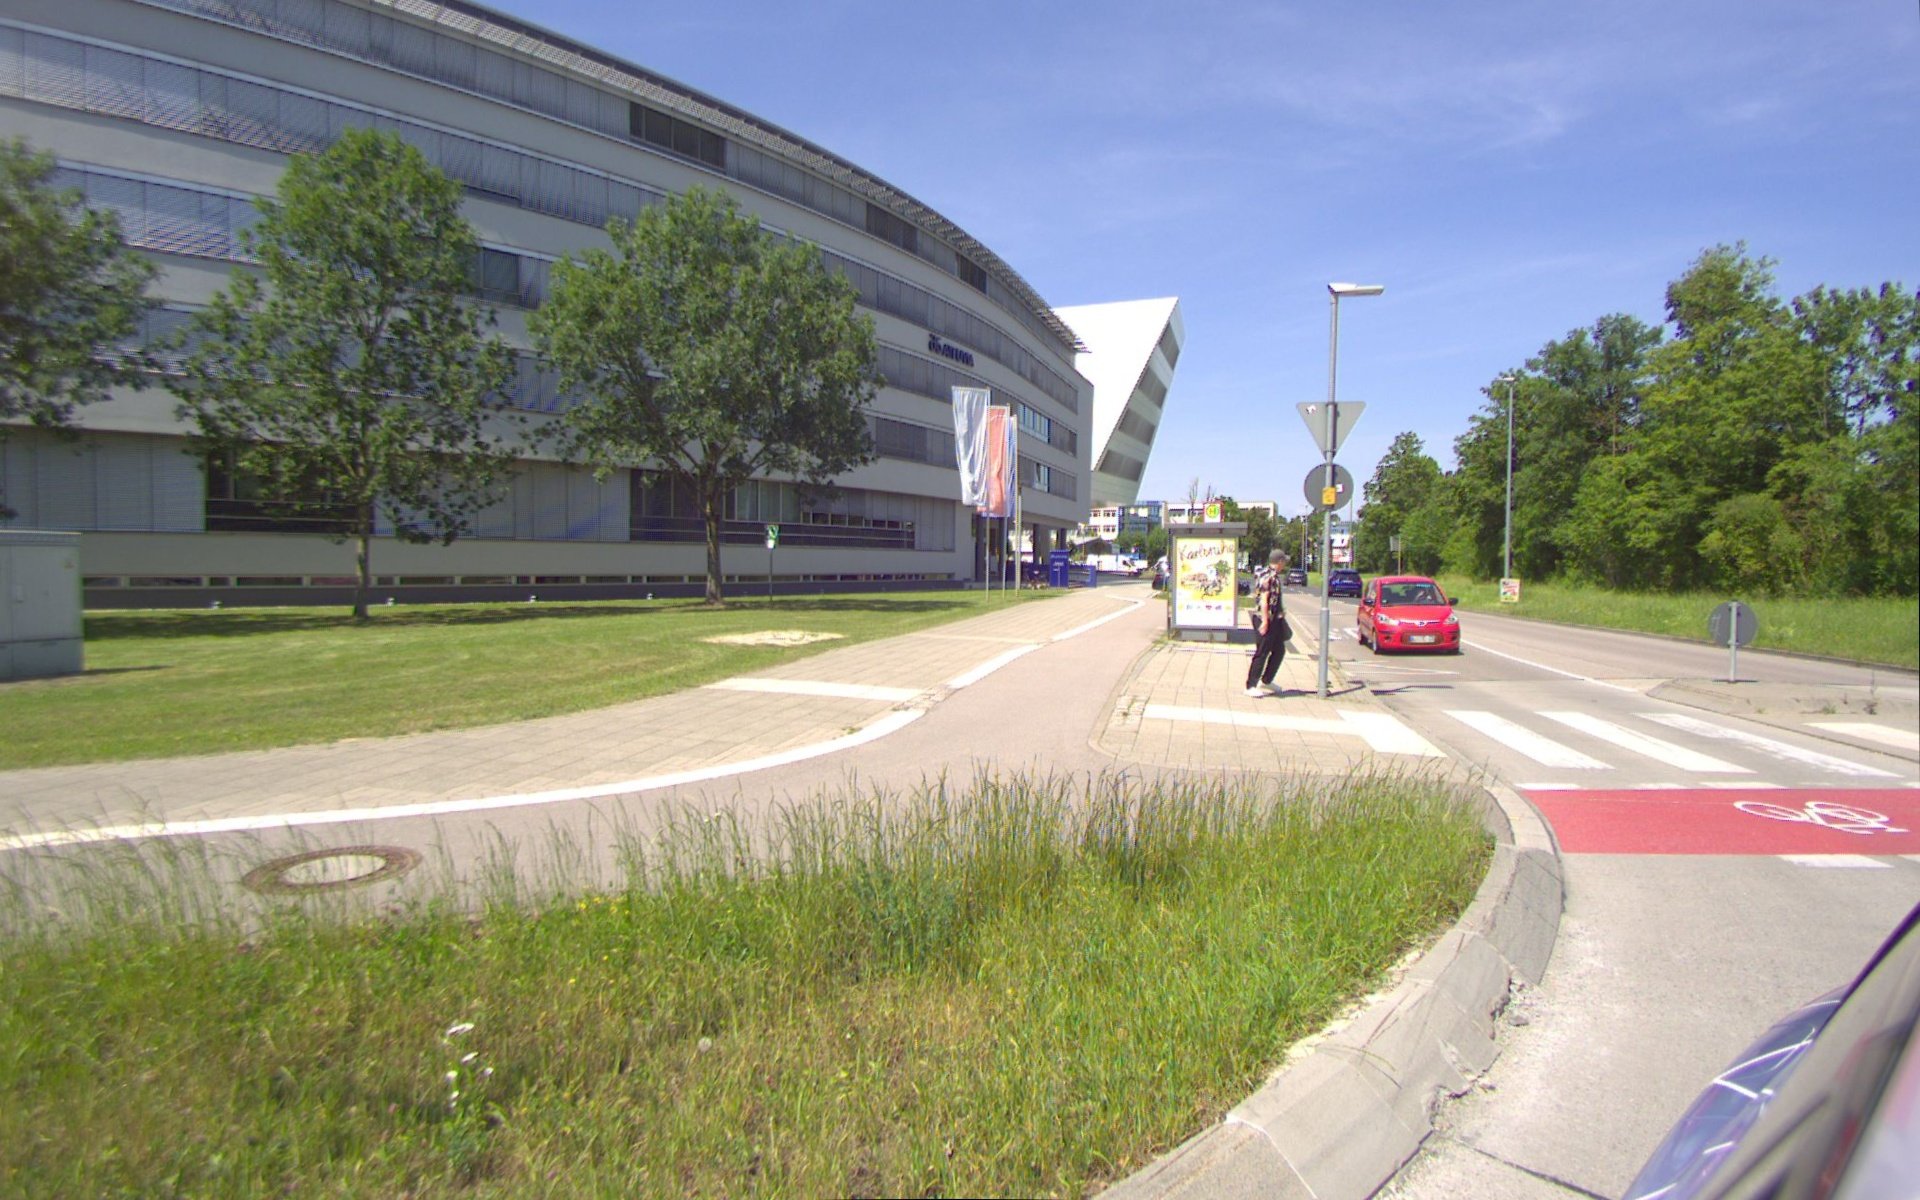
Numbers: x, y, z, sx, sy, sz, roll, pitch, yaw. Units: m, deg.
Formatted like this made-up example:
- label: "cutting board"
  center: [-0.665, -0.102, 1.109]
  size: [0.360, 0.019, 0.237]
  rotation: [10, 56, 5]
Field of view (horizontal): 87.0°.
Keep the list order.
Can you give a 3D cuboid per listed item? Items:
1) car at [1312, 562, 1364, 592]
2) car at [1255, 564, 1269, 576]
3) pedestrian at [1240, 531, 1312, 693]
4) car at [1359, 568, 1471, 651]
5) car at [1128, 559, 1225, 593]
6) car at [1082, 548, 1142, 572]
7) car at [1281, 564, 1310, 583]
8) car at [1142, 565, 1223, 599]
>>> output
- label: "car"
  center: [21.344, -1.279, 57.249]
  size: [1.968, 1.616, 4.309]
  rotation: [1, 1, 10]
- label: "car"
  center: [43.875, -4.397, 147.023]
  size: [1.972, 1.651, 3.982]
  rotation: [0, 2, 16]
- label: "pedestrian"
  center: [3.786, 0.120, 12.179]
  size: [0.700, 1.844, 0.823]
  rotation: [3, 2, 14]
- label: "car"
  center: [9.363, 0.135, 21.040]
  size: [1.640, 1.521, 3.341]
  rotation: [0, 2, 16]
- label: "car"
  center: [10.582, -1.216, 49.640]
  size: [4.514, 1.449, 1.821]
  rotation: [3, 3, 13]
- label: "car"
  center: [18.432, -4.848, 123.124]
  size: [6.892, 2.695, 2.238]
  rotation: [0, 2, 23]
- label: "car"
  center: [28.513, -2.230, 86.113]
  size: [1.970, 1.497, 4.272]
  rotation: [2, 2, 13]
- label: "car"
  center: [11.469, -0.947, 52.080]
  size: [3.945, 1.675, 1.830]
  rotation: [1, 2, 17]
